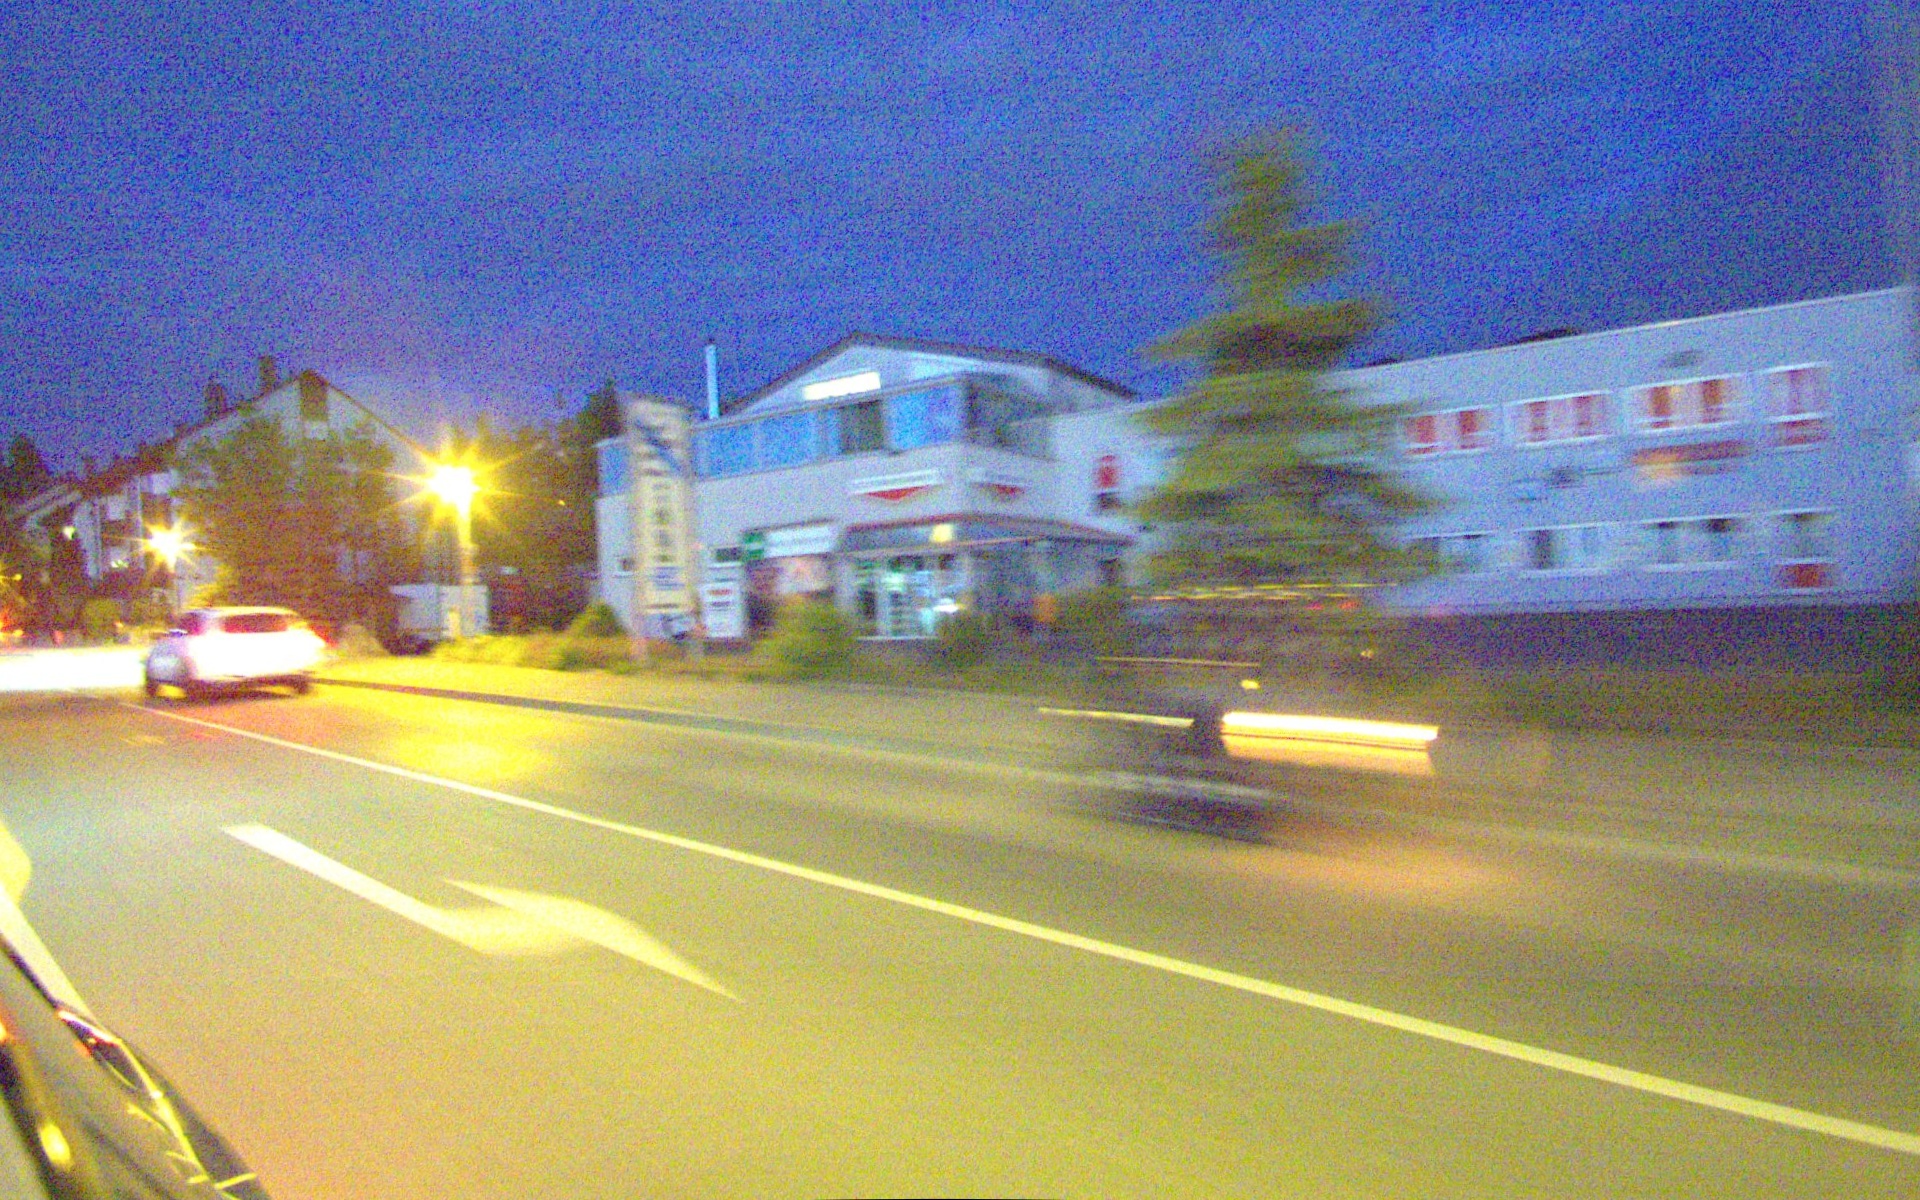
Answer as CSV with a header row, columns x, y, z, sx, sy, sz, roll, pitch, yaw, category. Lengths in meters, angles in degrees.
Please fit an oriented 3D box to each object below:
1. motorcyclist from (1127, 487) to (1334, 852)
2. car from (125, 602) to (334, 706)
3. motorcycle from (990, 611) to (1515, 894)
x,y,z,sx,sy,sz,roll,pitch,yaw,category
1.633,0.360,6.018,0.831,1.914,1.125,-2,0,34,motorcyclist
-13.563,0.924,18.681,4.748,1.639,1.974,-2,0,40,car
1.642,0.762,6.027,2.819,1.314,0.989,-2,0,35,motorcycle
